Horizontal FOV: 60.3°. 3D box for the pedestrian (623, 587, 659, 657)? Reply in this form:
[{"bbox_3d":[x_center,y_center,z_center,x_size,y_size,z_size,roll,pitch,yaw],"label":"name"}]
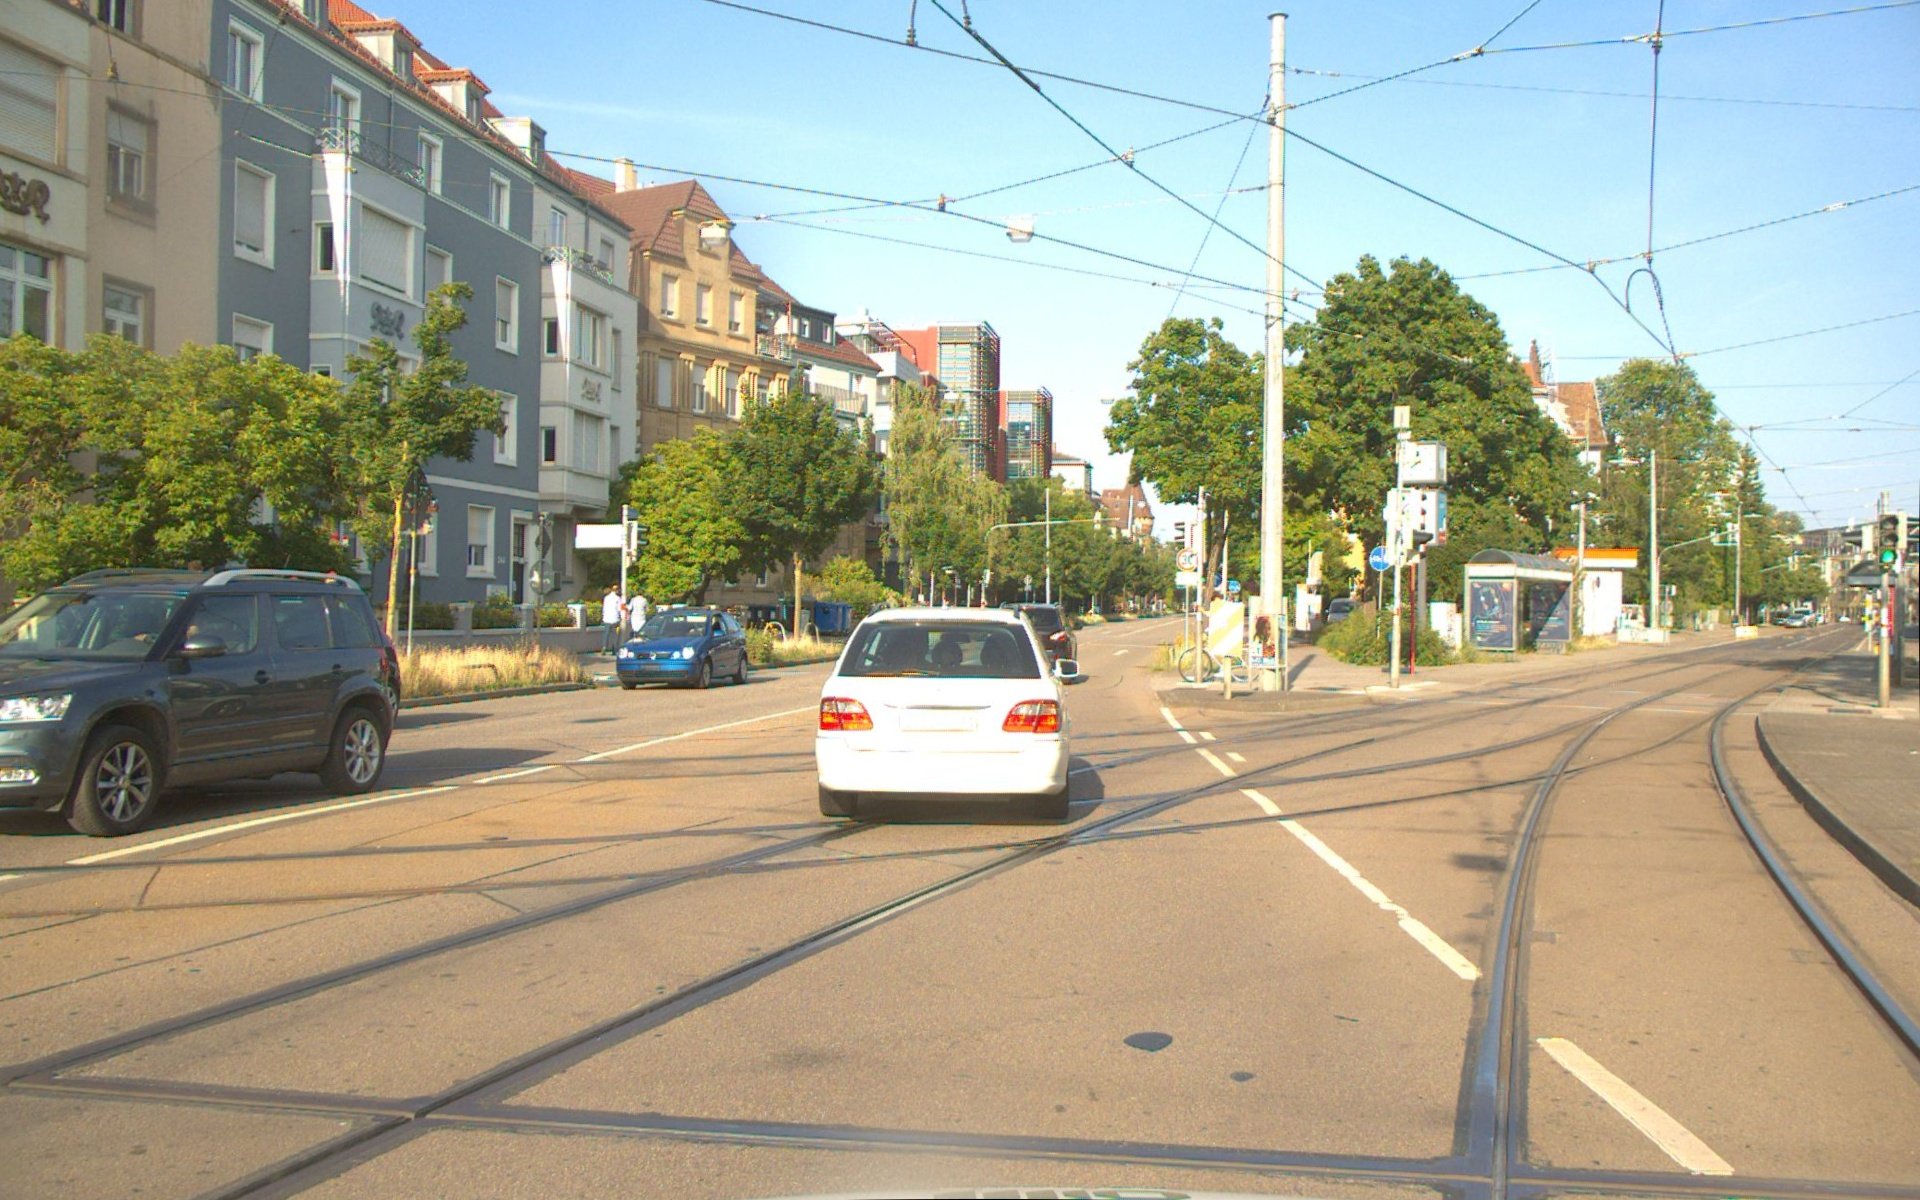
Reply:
[{"bbox_3d":[-8.157,0.558,42.285,0.625,1.781,0.912,1,0,7],"label":"pedestrian"}]

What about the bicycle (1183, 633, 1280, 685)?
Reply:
[{"bbox_3d":[5.477,1.185,33.466,1.873,1.012,0.727,-1,0,4],"label":"bicycle"}]

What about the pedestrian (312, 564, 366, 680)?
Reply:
[{"bbox_3d":[-10.397,0.365,27.696,0.572,1.914,0.627,1,0,9],"label":"pedestrian"}]

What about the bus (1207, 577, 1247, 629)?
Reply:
[{"bbox_3d":[14.281,0.203,88.707,1.760,2.599,4.002,3,-1,6],"label":"bus"}]

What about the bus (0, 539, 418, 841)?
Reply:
[{"bbox_3d":[-5.675,0.493,11.370,1.805,1.665,4.162,1,0,12],"label":"bus"}]

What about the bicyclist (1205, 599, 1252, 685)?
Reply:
[{"bbox_3d":[5.430,0.844,33.473,0.880,1.728,0.733,0,0,4],"label":"bicyclist"}]

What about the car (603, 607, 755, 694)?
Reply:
[{"bbox_3d":[-5.205,0.895,31.149,1.653,1.466,4.003,1,0,8],"label":"car"}]

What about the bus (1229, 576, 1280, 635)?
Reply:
[{"bbox_3d":[12.984,0.279,73.041,1.760,2.455,4.002,3,-1,5],"label":"bus"}]

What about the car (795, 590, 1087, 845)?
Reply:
[{"bbox_3d":[0.007,0.753,12.434,1.797,1.527,3.817,3,0,4],"label":"car"}]

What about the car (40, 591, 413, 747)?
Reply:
[{"bbox_3d":[-7.646,0.677,17.713,1.652,1.445,4.003,1,-1,10],"label":"car"}]

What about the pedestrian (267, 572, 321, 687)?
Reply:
[{"bbox_3d":[-11.212,0.488,27.861,0.572,1.914,0.627,1,0,8],"label":"pedestrian"}]

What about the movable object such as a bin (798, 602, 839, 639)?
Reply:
[{"bbox_3d":[-5.637,0.821,66.026,1.571,1.446,1.084,1,0,-3],"label":"movable object such as a bin"}]

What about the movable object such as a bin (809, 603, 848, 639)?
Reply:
[{"bbox_3d":[-5.339,0.854,67.091,1.503,1.446,1.084,1,0,-3],"label":"movable object such as a bin"}]

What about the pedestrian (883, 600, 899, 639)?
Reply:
[{"bbox_3d":[-3.204,0.910,76.492,0.625,1.781,0.608,1,0,7],"label":"pedestrian"}]

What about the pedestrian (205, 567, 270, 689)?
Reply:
[{"bbox_3d":[-11.410,0.437,26.132,0.660,1.880,0.650,1,0,12],"label":"pedestrian"}]

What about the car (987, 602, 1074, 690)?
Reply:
[{"bbox_3d":[1.501,0.896,33.970,1.607,1.628,3.817,3,0,4],"label":"car"}]

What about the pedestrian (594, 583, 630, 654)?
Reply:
[{"bbox_3d":[-8.907,0.461,42.350,0.625,1.781,0.912,1,0,7],"label":"pedestrian"}]

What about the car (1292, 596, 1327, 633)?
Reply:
[{"bbox_3d":[18.657,0.783,88.452,1.708,1.906,4.003,1,0,11],"label":"car"}]

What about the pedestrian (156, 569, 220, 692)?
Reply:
[{"bbox_3d":[-12.176,0.475,26.084,0.644,1.914,0.627,1,0,8],"label":"pedestrian"}]
